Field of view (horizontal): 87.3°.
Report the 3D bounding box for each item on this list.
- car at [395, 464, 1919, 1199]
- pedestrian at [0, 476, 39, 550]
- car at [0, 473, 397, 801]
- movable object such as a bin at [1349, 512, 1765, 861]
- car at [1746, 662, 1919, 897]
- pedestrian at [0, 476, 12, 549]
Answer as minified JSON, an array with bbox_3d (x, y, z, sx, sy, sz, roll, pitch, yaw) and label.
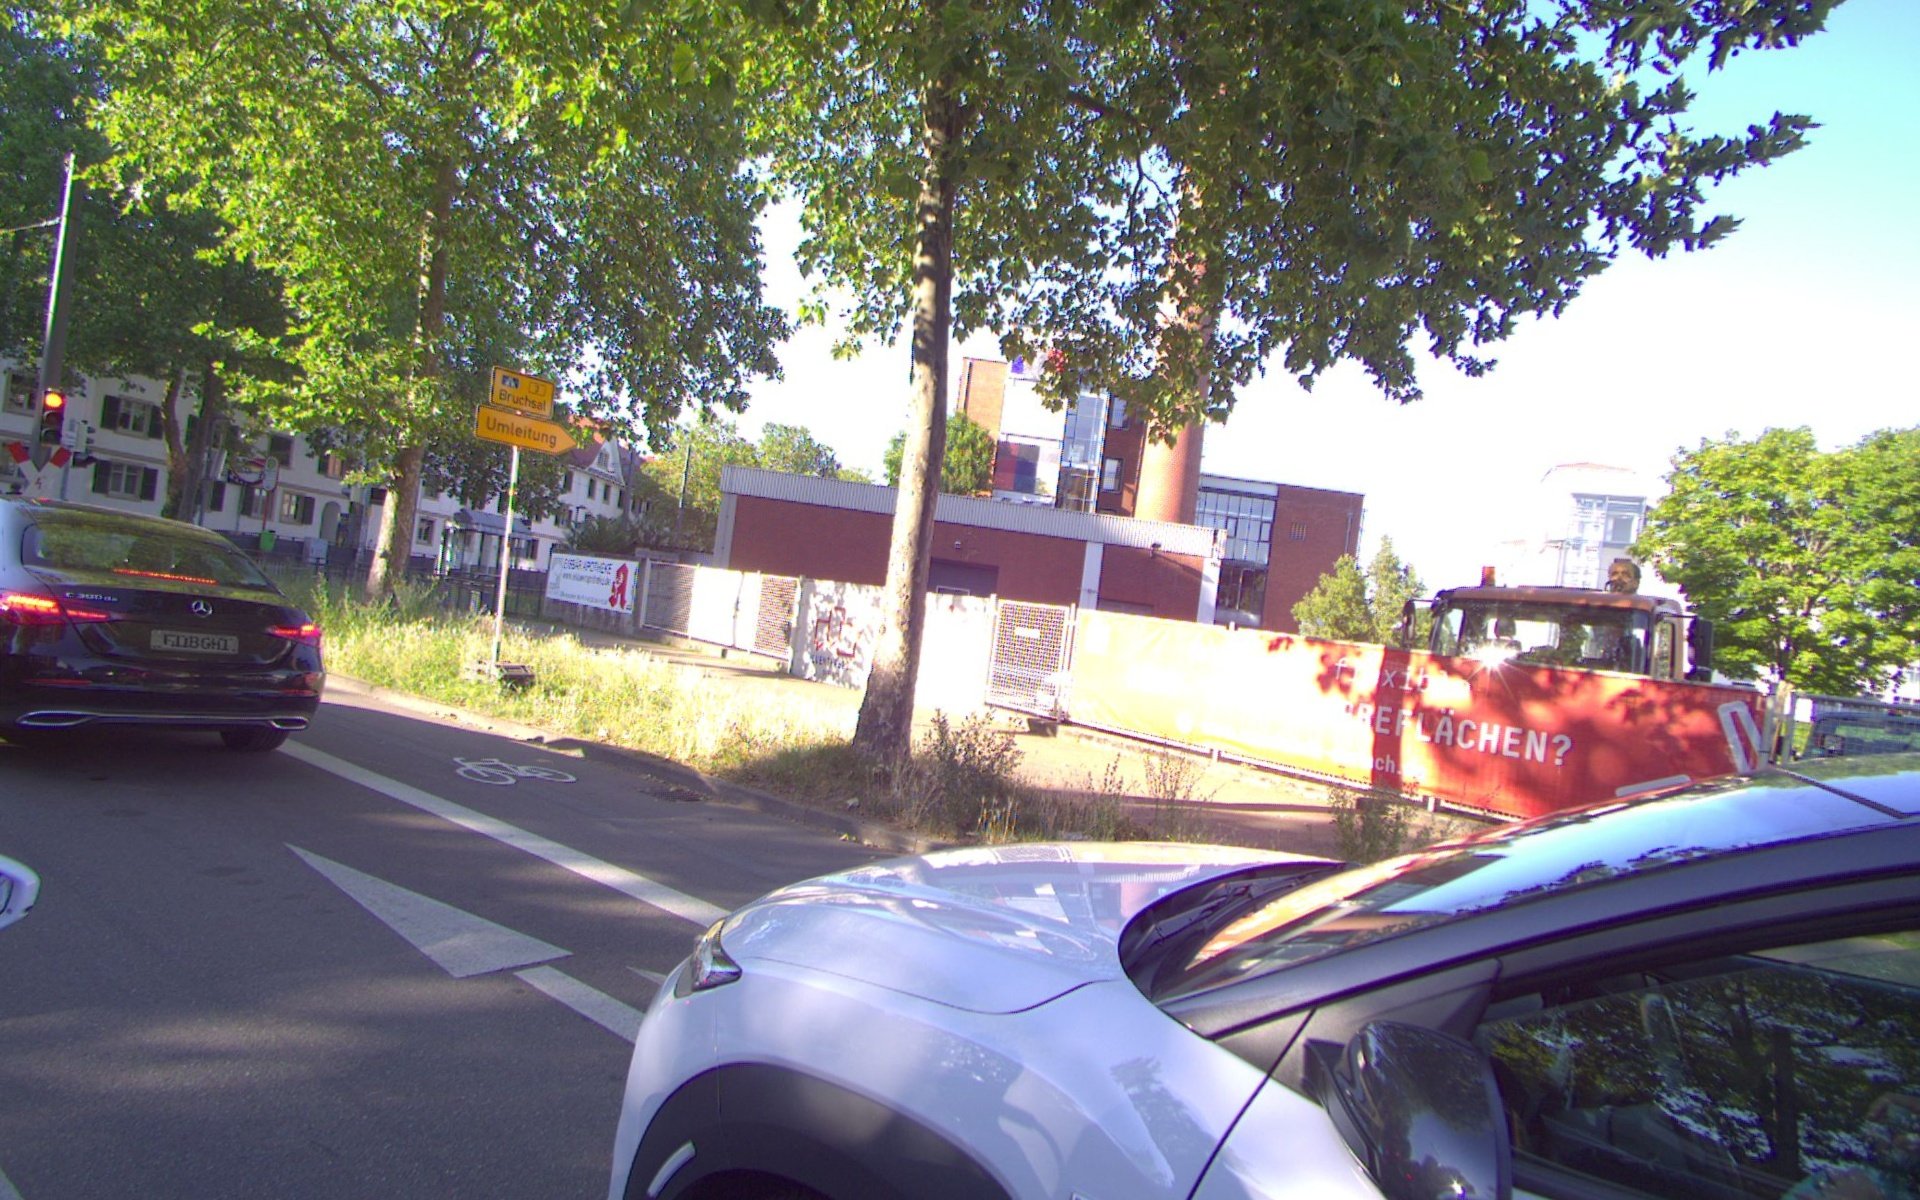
[{"bbox_3d":[1.240,0.932,1.376,3.901,1.616,1.893,9,-1,33],"label":"car"},{"bbox_3d":[-26.522,-2.431,28.137,0.825,1.940,0.707,7,-1,28],"label":"pedestrian"},{"bbox_3d":[-5.920,0.027,6.679,4.309,1.508,1.893,9,-1,33],"label":"car"},{"bbox_3d":[7.644,1.034,12.412,3.172,3.084,6.266,6,-2,41],"label":"movable object such as a bin"},{"bbox_3d":[9.573,1.824,10.154,2.016,1.849,4.583,6,-3,44],"label":"car"},{"bbox_3d":[-26.119,-2.395,26.917,0.825,1.940,0.707,7,-1,28],"label":"pedestrian"}]
